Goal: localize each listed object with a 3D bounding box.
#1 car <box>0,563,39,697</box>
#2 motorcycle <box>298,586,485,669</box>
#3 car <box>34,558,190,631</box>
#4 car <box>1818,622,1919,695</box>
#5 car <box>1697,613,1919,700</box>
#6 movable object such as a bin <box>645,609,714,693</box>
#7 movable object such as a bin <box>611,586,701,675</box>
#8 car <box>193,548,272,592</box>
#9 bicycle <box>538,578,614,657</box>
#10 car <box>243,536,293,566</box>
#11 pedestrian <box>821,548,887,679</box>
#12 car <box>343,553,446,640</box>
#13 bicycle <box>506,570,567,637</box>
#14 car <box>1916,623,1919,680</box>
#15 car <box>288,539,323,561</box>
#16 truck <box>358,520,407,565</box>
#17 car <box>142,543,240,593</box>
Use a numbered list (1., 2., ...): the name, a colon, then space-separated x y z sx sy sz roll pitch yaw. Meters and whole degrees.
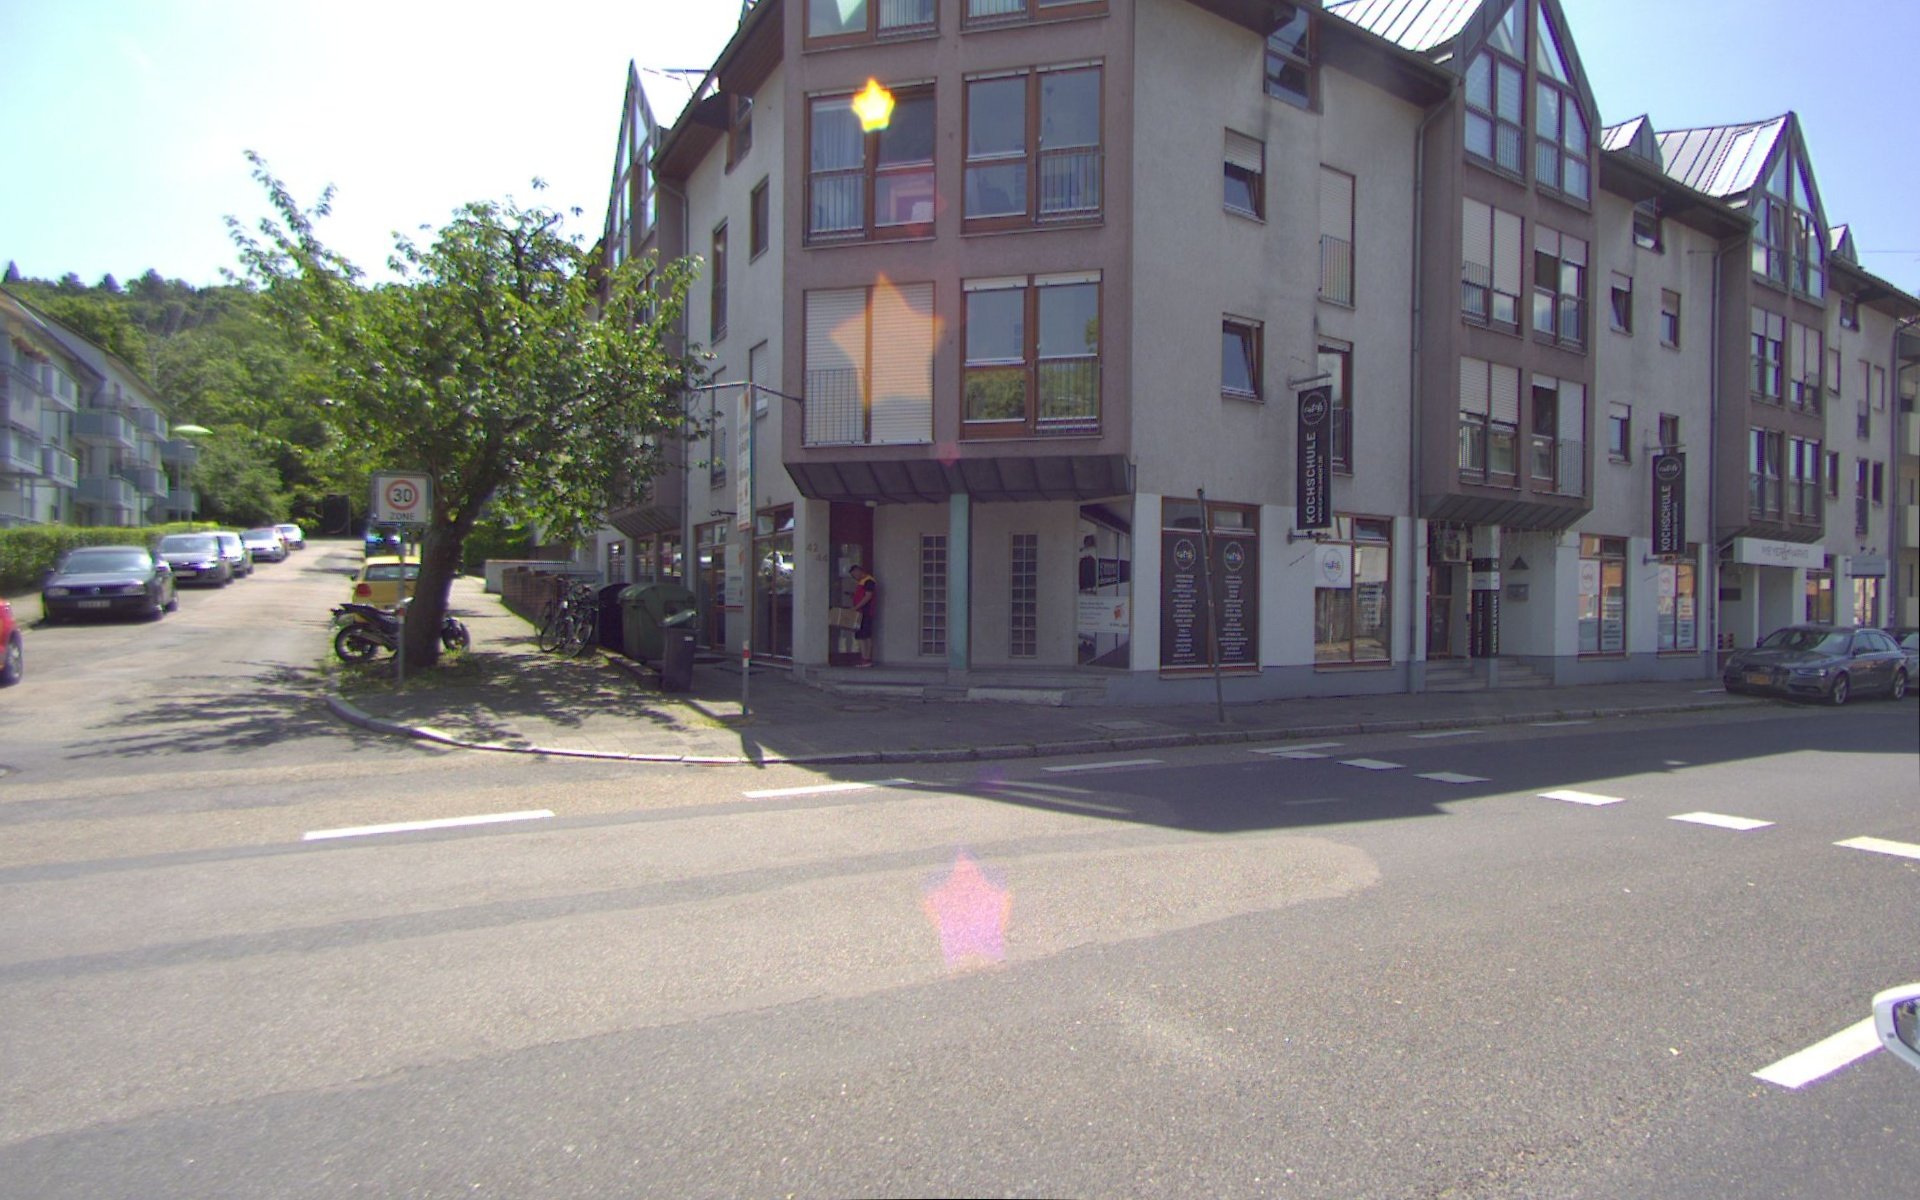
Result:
1. car: -11.489 0.419 10.639 1.713 1.471 3.966 -1 4 -30
2. motorcycle: -8.937 0.387 15.904 0.915 1.049 2.375 5 7 41
3. car: -16.874 -0.183 20.189 1.713 1.167 3.759 -3 5 -30
4. car: 21.518 1.284 22.718 4.275 1.402 1.831 1 2 -30
5. car: 17.140 1.092 20.154 4.907 1.467 1.832 2 2 -29
6. movable object such as a bin: -3.858 0.691 13.855 0.660 1.111 0.632 1 0 20
7. movable object such as a bin: -5.013 0.483 16.547 1.076 1.385 1.265 1 1 -35
8. car: -24.078 -1.038 33.358 1.713 1.247 3.759 -3 5 -30
9. bicycle: -6.578 0.285 17.115 0.749 1.251 2.243 1 -1 -33
10. car: -30.887 -2.211 44.912 1.541 1.247 3.759 -3 5 -30
11. pedestrian: -1.710 0.208 16.149 0.830 2.040 0.594 1 1 -37
12. car: -11.581 -0.158 20.598 1.635 1.433 3.760 -2 6 -30
13. bicycle: -8.411 0.075 19.906 0.749 1.251 2.244 1 -1 -32
14. car: 26.093 1.317 25.249 4.335 1.509 1.830 1 2 -31
15. car: -39.616 -3.049 60.812 1.541 1.247 3.759 -3 5 -30
16. truck: -29.783 -3.007 51.848 2.081 2.063 5.398 1 4 -30
17. car: -22.096 -0.967 28.991 1.713 1.247 3.759 -3 5 -30
